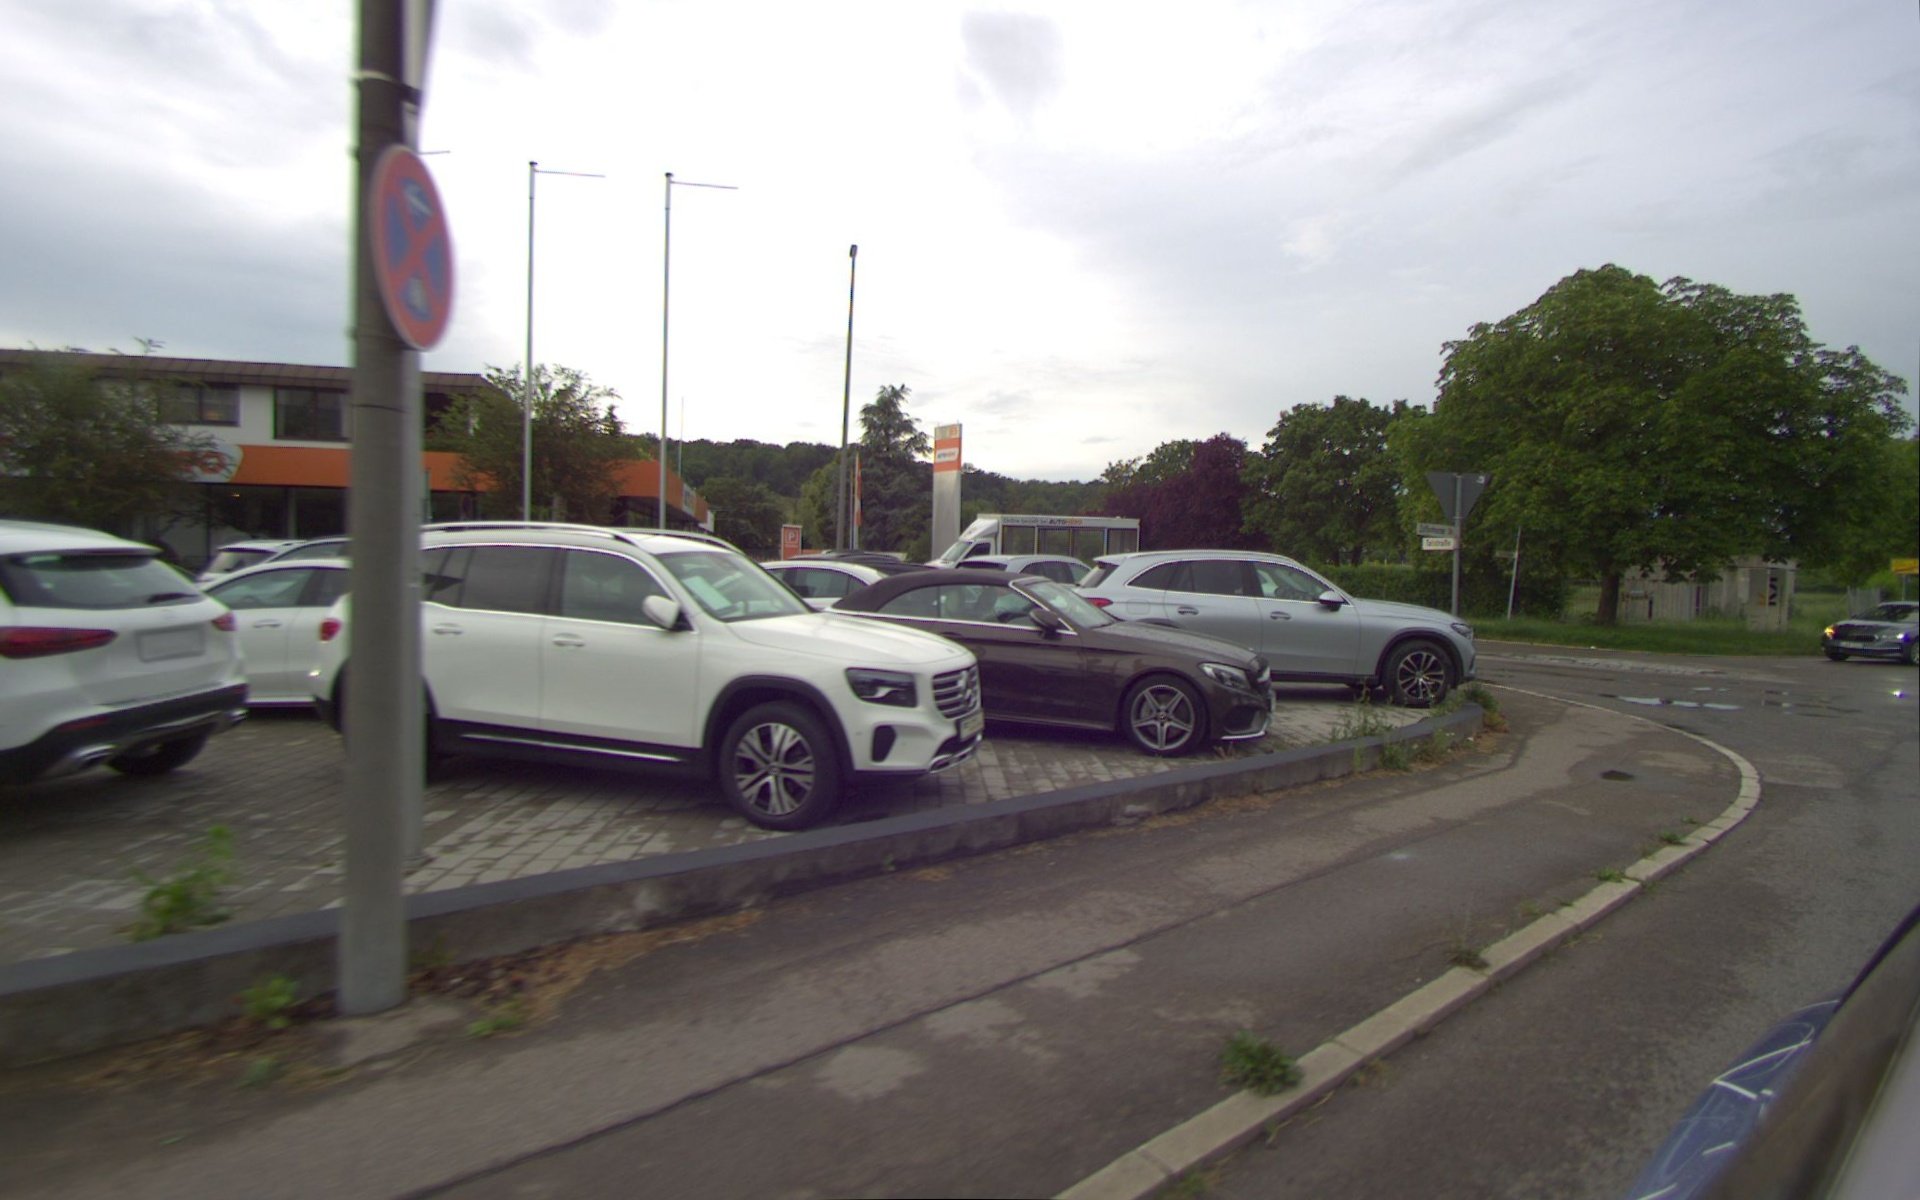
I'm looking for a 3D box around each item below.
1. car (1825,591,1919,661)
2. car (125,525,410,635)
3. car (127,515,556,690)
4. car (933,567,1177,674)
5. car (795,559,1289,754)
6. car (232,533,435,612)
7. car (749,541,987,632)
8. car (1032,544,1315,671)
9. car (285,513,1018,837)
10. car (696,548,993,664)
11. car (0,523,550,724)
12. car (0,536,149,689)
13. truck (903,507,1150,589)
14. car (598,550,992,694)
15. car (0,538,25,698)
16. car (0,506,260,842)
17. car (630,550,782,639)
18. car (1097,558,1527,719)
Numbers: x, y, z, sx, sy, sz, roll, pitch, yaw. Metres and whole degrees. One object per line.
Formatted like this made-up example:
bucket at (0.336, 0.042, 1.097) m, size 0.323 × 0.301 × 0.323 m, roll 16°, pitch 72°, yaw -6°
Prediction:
car at (22.449, 0.579, 23.484) m, size 4.169 × 1.469 × 1.802 m, roll 1°, pitch 1°, yaw -21°
car at (-11.065, -0.311, 16.421) m, size 1.753 × 1.571 × 3.423 m, roll 2°, pitch 1°, yaw 23°
car at (-7.030, 0.014, 11.835) m, size 3.921 × 1.742 × 1.680 m, roll -2°, pitch 0°, yaw -4°
car at (1.819, 0.292, 18.386) m, size 4.429 × 1.697 × 2.024 m, roll -1°, pitch 1°, yaw -43°
car at (0.767, 0.372, 9.088) m, size 4.091 × 1.411 × 1.839 m, roll 1°, pitch 1°, yaw 21°
car at (-16.975, -0.743, 27.658) m, size 4.357 × 2.039 × 1.836 m, roll -1°, pitch 0°, yaw -15°
car at (-1.566, -0.249, 19.089) m, size 2.059 × 1.479 × 4.711 m, roll 2°, pitch 1°, yaw 32°
car at (3.409, 0.067, 15.627) m, size 4.626 × 1.694 × 1.812 m, roll -1°, pitch 1°, yaw -40°
car at (-1.944, 0.327, 6.753) m, size 4.365 × 1.673 × 1.918 m, roll 1°, pitch 1°, yaw 16°
car at (-1.621, 0.060, 14.975) m, size 4.055 × 1.479 × 1.768 m, roll 2°, pitch 1°, yaw 8°
car at (-6.003, 0.134, 9.150) m, size 3.848 × 1.470 × 1.684 m, roll -2°, pitch 6°, yaw 0°
car at (-12.223, 0.209, 11.857) m, size 3.908 × 1.662 × 1.774 m, roll -2°, pitch 0°, yaw -4°
truck at (2.366, -1.825, 36.107) m, size 8.297 × 2.656 × 2.794 m, roll -1°, pitch 0°, yaw -18°
car at (-1.933, 0.208, 12.089) m, size 4.274 × 1.518 × 1.970 m, roll 0°, pitch 1°, yaw -12°
car at (-11.251, 0.159, 9.031) m, size 3.920 × 1.564 × 1.906 m, roll 1°, pitch 1°, yaw -5°
car at (-6.229, 0.292, 5.644) m, size 3.489 × 1.619 × 1.666 m, roll 1°, pitch 2°, yaw -2°
car at (-4.653, -0.120, 19.118) m, size 1.739 × 1.452 × 3.999 m, roll 2°, pitch 1°, yaw 1°
car at (3.842, 0.389, 11.704) m, size 4.284 × 1.692 × 1.965 m, roll 0°, pitch 1°, yaw 2°
